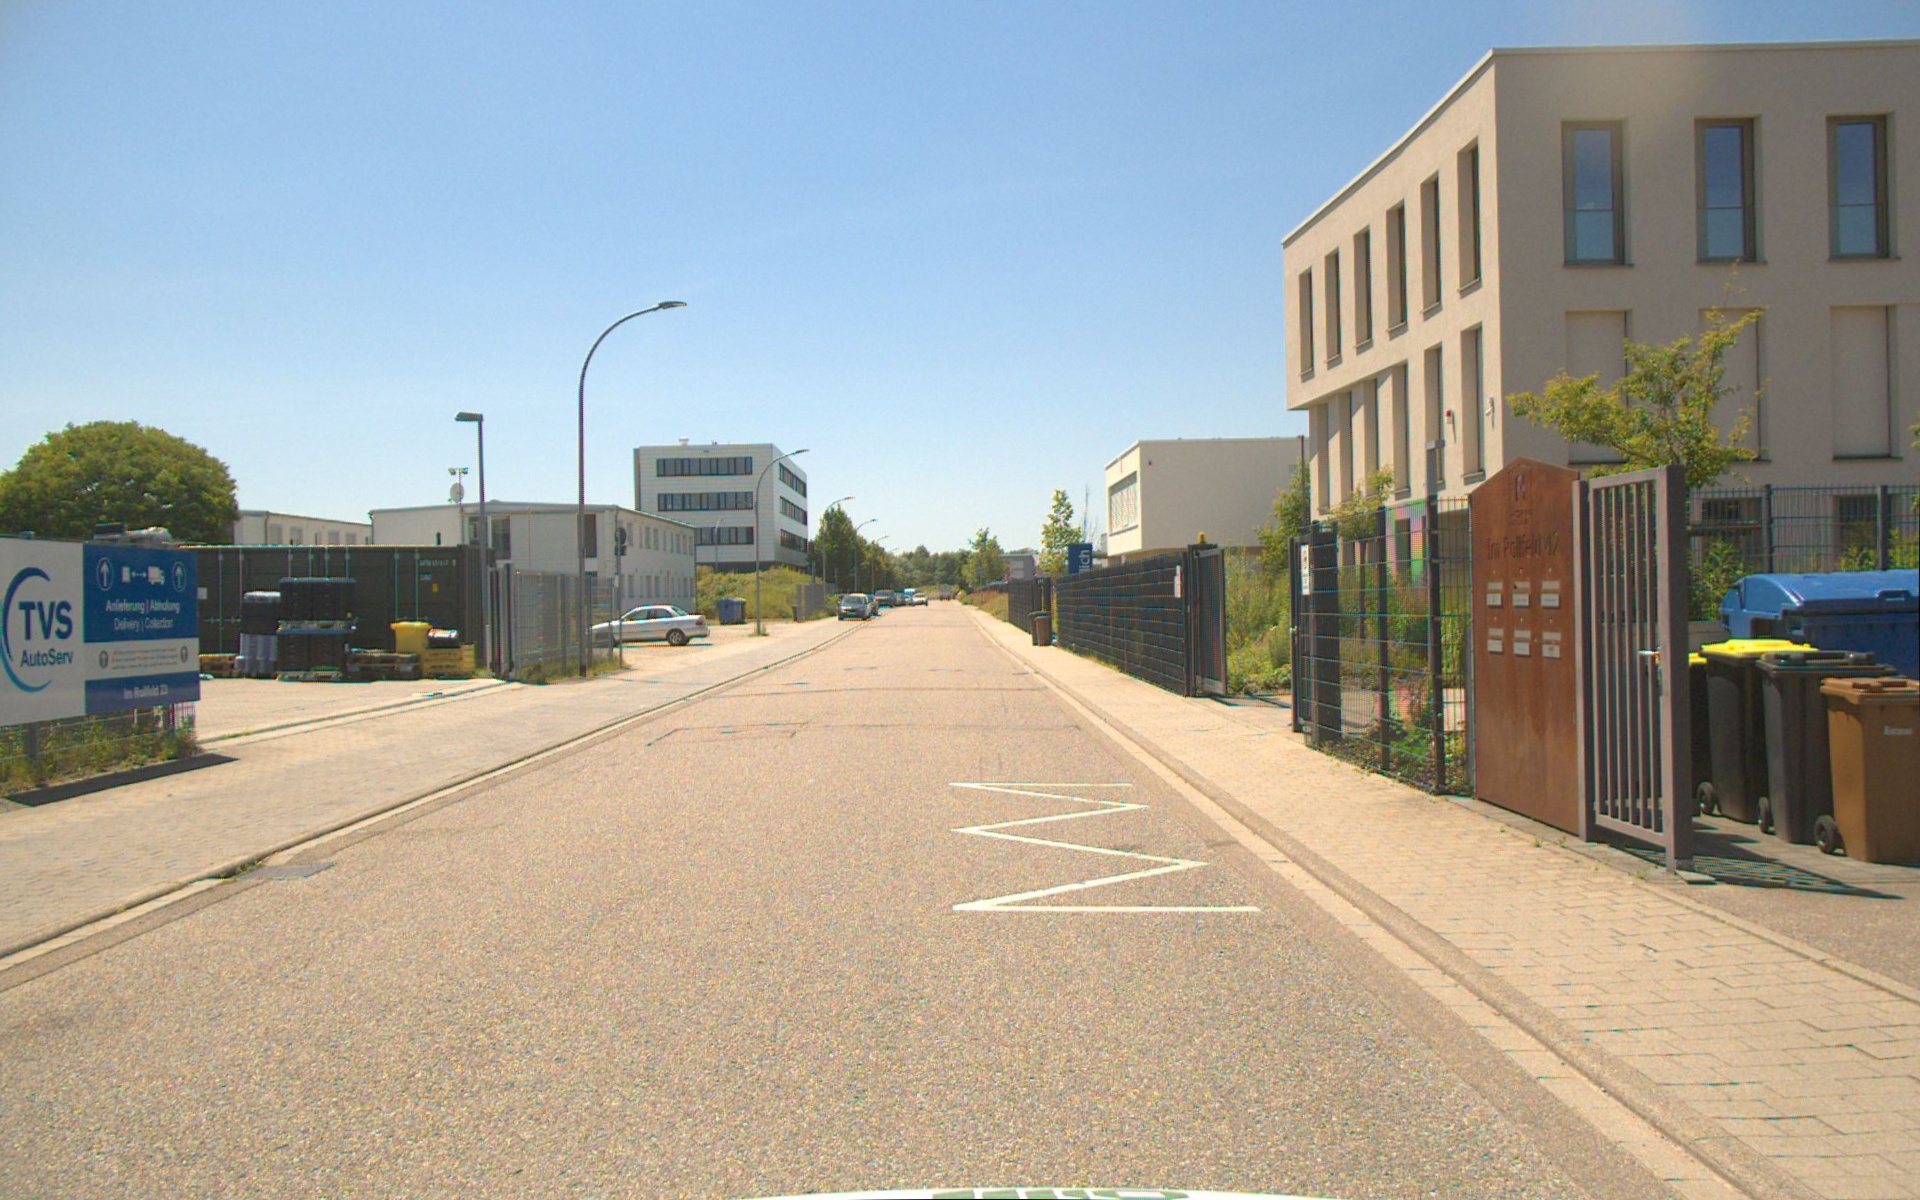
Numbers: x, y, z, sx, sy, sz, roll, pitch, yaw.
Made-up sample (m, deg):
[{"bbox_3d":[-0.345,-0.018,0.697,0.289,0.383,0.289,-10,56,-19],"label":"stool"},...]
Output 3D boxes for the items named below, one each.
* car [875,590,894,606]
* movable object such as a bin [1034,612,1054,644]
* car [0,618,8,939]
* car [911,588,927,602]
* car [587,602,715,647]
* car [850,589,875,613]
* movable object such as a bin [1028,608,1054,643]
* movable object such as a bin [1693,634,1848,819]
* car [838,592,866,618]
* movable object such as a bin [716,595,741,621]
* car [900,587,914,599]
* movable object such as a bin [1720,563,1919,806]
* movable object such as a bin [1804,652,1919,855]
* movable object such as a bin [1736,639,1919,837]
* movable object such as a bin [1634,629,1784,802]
[{"bbox_3d":[-7.059,-0.210,155.175,1.611,1.516,3.207,-1,0,0],"label":"car"},{"bbox_3d":[2.658,0.900,52.567,0.541,0.944,0.522,-5,1,3],"label":"movable object such as a bin"},{"bbox_3d":[-5.302,0.831,5.556,1.733,1.487,4.332,0,0,-1],"label":"car"},{"bbox_3d":[-4.853,-0.576,194.233,1.767,1.584,3.999,-2,0,-1],"label":"car"},{"bbox_3d":[-10.978,0.859,58.955,4.190,1.388,1.897,-2,0,-1],"label":"car"},{"bbox_3d":[-6.325,0.045,107.252,1.437,1.516,3.207,-1,0,0],"label":"car"},{"bbox_3d":[2.621,0.820,53.549,0.763,1.037,0.665,-6,1,3],"label":"movable object such as a bin"},{"bbox_3d":[4.909,0.750,10.050,0.592,1.054,0.650,-2,0,0],"label":"movable object such as a bin"},{"bbox_3d":[-6.531,0.288,100.256,1.437,1.516,3.207,-1,0,0],"label":"car"},{"bbox_3d":[-13.126,0.472,93.895,1.260,1.436,1.805,-1,0,-5],"label":"movable object such as a bin"},{"bbox_3d":[-7.134,-0.928,222.155,1.767,1.584,3.999,-2,0,-1],"label":"car"},{"bbox_3d":[5.848,0.516,10.783,1.307,1.485,0.948,-2,0,-1],"label":"movable object such as a bin"},{"bbox_3d":[4.932,0.802,8.825,0.532,1.012,0.580,-2,0,-1],"label":"movable object such as a bin"},{"bbox_3d":[4.959,0.766,9.414,0.777,1.054,0.580,-2,0,-1],"label":"movable object such as a bin"},{"bbox_3d":[4.896,0.733,10.858,0.532,1.054,0.913,-2,0,-1],"label":"movable object such as a bin"}]
